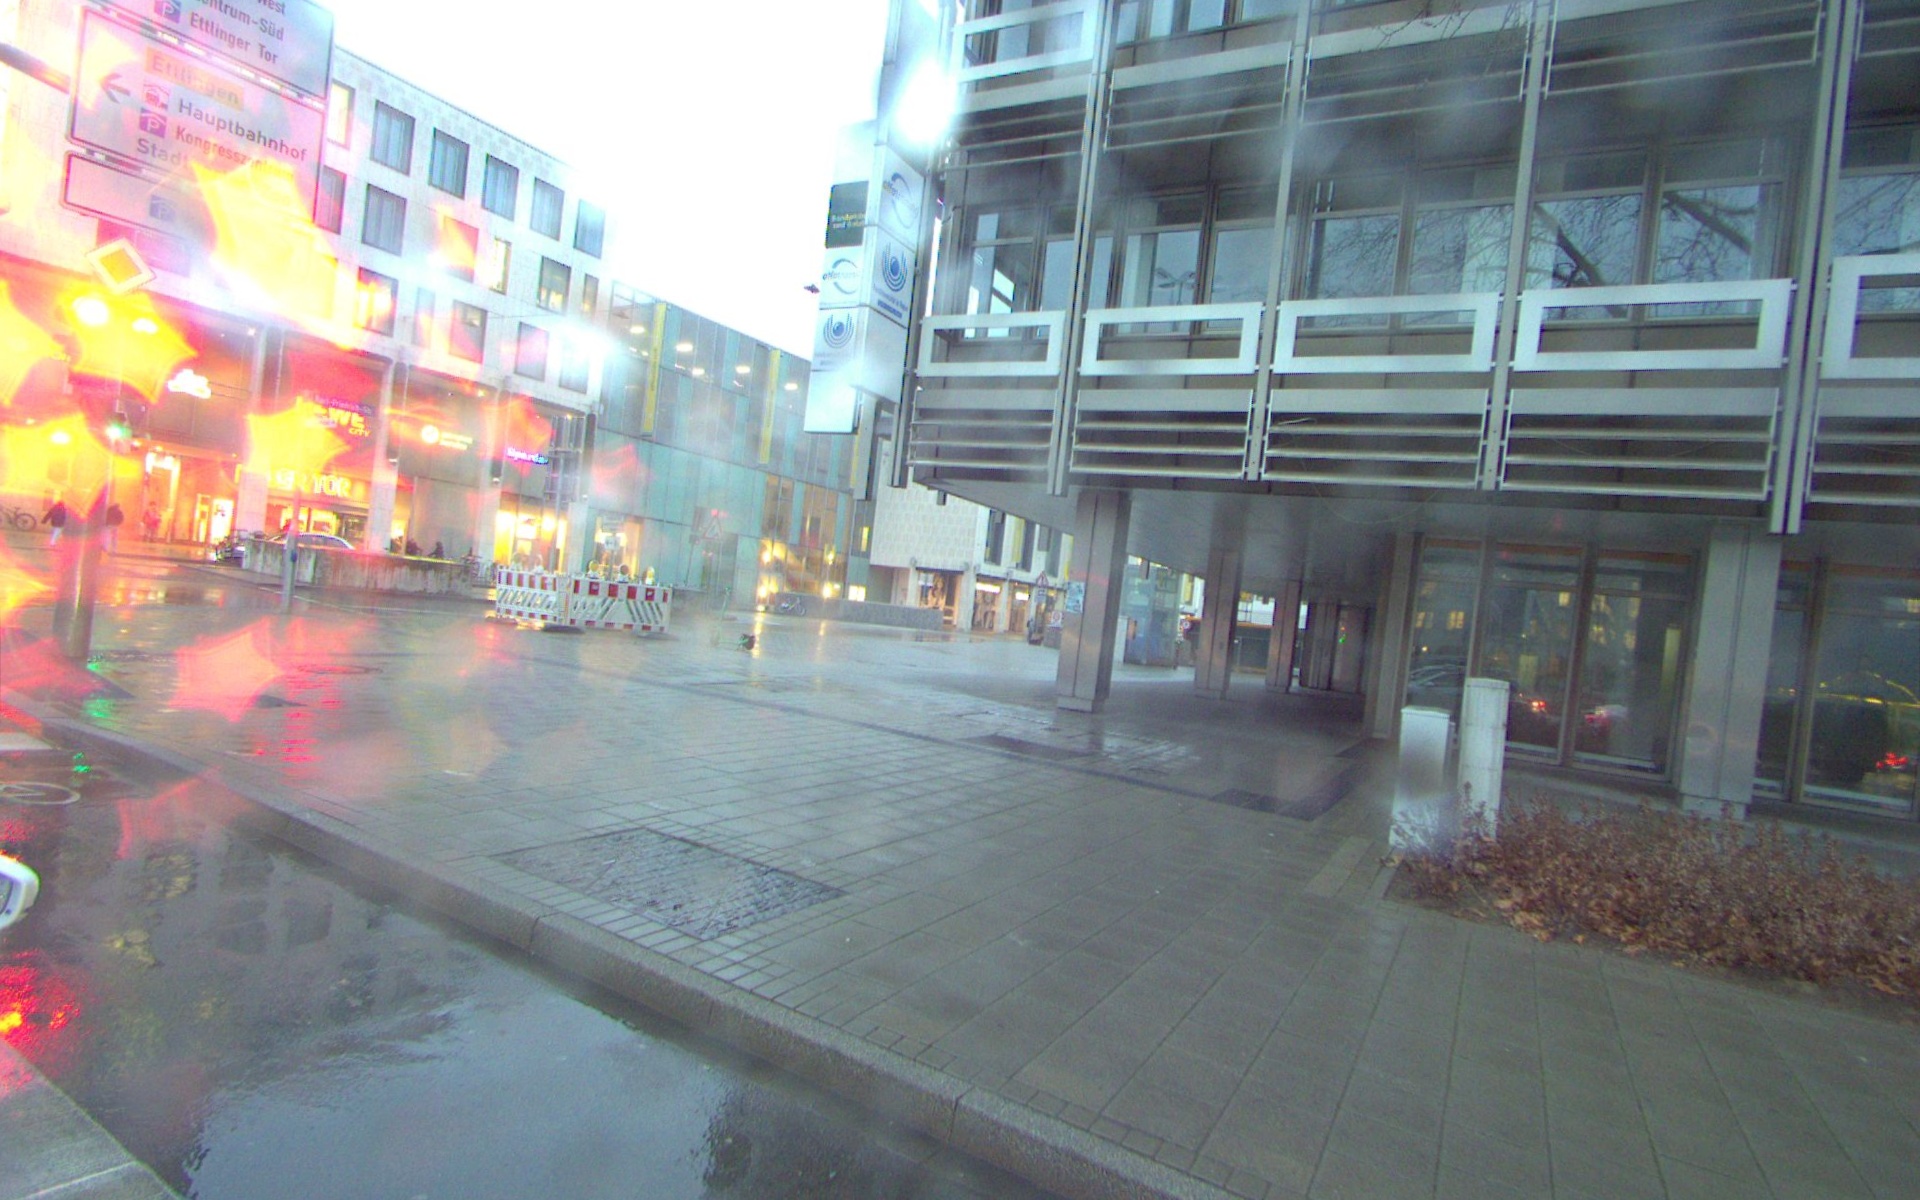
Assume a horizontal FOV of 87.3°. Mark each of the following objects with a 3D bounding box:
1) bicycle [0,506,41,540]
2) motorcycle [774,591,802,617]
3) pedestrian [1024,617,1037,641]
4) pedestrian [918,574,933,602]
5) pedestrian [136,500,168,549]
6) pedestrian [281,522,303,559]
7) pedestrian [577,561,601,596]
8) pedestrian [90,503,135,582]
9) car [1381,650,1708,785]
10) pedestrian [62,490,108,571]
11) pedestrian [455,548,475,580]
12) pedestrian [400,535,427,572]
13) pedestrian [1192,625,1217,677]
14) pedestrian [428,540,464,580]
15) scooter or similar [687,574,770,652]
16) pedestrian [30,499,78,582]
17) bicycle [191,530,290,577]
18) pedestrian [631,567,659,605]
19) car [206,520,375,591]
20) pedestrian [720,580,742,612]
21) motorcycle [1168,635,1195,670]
[{"bbox_3d":[-36.434,-2.988,38.553,0.515,1.082,1.651,7,-2,28],"label":"bicycle"},{"bbox_3d":[-10.393,0.248,60.775,0.585,1.368,1.491,7,-1,36],"label":"motorcycle"},{"bbox_3d":[5.197,2.143,74.307,0.573,1.703,0.542,6,-1,38],"label":"pedestrian"},{"bbox_3d":[-2.213,-0.771,64.081,0.573,1.703,0.542,6,-1,38],"label":"pedestrian"},{"bbox_3d":[-36.031,-3.360,44.869,0.688,2.038,0.845,7,1,40],"label":"pedestrian"},{"bbox_3d":[-32.927,-2.938,49.602,0.729,1.740,0.733,6,1,-31],"label":"pedestrian"},{"bbox_3d":[-19.652,-1.143,53.260,0.770,1.703,0.742,6,-1,38],"label":"pedestrian"},{"bbox_3d":[-28.047,-1.896,33.284,0.778,2.477,0.694,7,-1,32],"label":"pedestrian"},{"bbox_3d":[8.699,1.666,15.211,3.935,1.327,1.994,6,1,33],"label":"car"},{"bbox_3d":[-28.235,-2.233,32.457,0.745,2.469,0.691,7,-1,31],"label":"pedestrian"},{"bbox_3d":[-24.264,-1.768,49.332,0.511,1.512,0.586,6,0,34],"label":"pedestrian"},{"bbox_3d":[-26.502,-2.245,48.764,0.519,1.705,0.894,6,0,31],"label":"pedestrian"},{"bbox_3d":[8.831,1.846,36.311,0.678,1.796,0.660,7,-1,16],"label":"pedestrian"},{"bbox_3d":[-23.936,-1.860,46.862,0.810,1.703,1.032,6,-1,31],"label":"pedestrian"},{"bbox_3d":[-4.660,0.261,20.221,1.470,1.368,0.593,7,-1,32],"label":"scooter or similar"},{"bbox_3d":[-28.535,-1.875,31.677,0.745,2.469,0.716,7,-1,31],"label":"pedestrian"},{"bbox_3d":[-26.334,-1.684,36.873,0.941,1.375,2.718,6,-1,28],"label":"bicycle"},{"bbox_3d":[-14.953,-0.660,47.764,0.770,1.703,0.742,6,-1,38],"label":"pedestrian"},{"bbox_3d":[-21.669,-1.404,32.705,1.968,1.636,3.994,6,-2,33],"label":"car"},{"bbox_3d":[-13.199,-0.251,57.981,0.770,1.703,0.742,6,-1,38],"label":"pedestrian"},{"bbox_3d":[9.743,2.305,44.160,0.584,1.368,1.493,7,-1,29],"label":"motorcycle"}]
